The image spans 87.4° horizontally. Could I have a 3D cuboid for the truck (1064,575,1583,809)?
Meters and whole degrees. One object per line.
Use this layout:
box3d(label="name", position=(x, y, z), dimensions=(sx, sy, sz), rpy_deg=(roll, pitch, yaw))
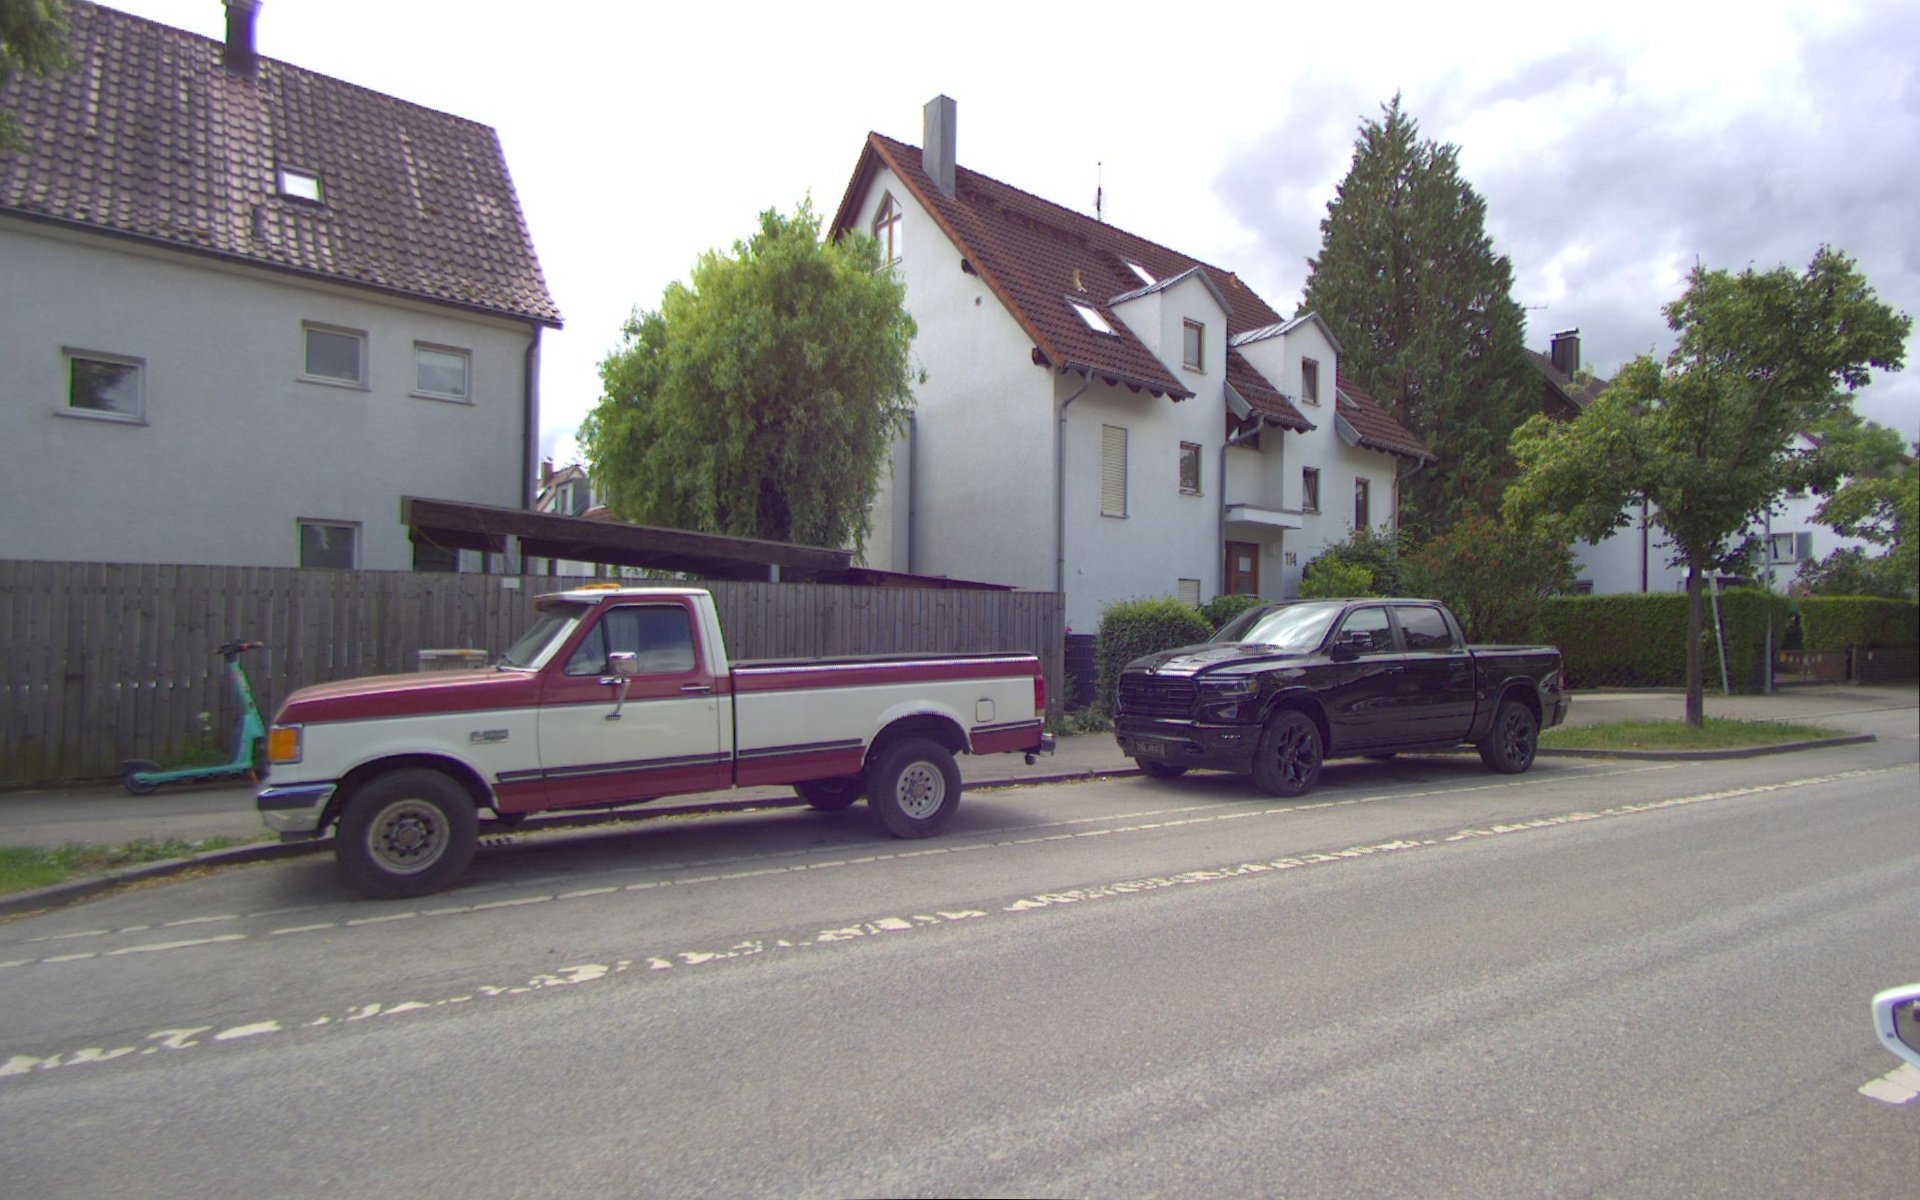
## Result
box3d(label="truck", position=(4.282, 0.897, 11.479), dimensions=(5.926, 2.070, 2.411), rpy_deg=(1, -2, -31))

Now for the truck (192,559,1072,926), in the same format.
box3d(label="truck", position=(-2.013, 0.842, 7.469), dimensions=(5.597, 1.892, 1.958), rpy_deg=(1, -3, -30))

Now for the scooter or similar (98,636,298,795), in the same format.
box3d(label="scooter or similar", position=(-6.471, 0.953, 8.609), dimensions=(1.291, 1.228, 0.631), rpy_deg=(2, 0, -34))
